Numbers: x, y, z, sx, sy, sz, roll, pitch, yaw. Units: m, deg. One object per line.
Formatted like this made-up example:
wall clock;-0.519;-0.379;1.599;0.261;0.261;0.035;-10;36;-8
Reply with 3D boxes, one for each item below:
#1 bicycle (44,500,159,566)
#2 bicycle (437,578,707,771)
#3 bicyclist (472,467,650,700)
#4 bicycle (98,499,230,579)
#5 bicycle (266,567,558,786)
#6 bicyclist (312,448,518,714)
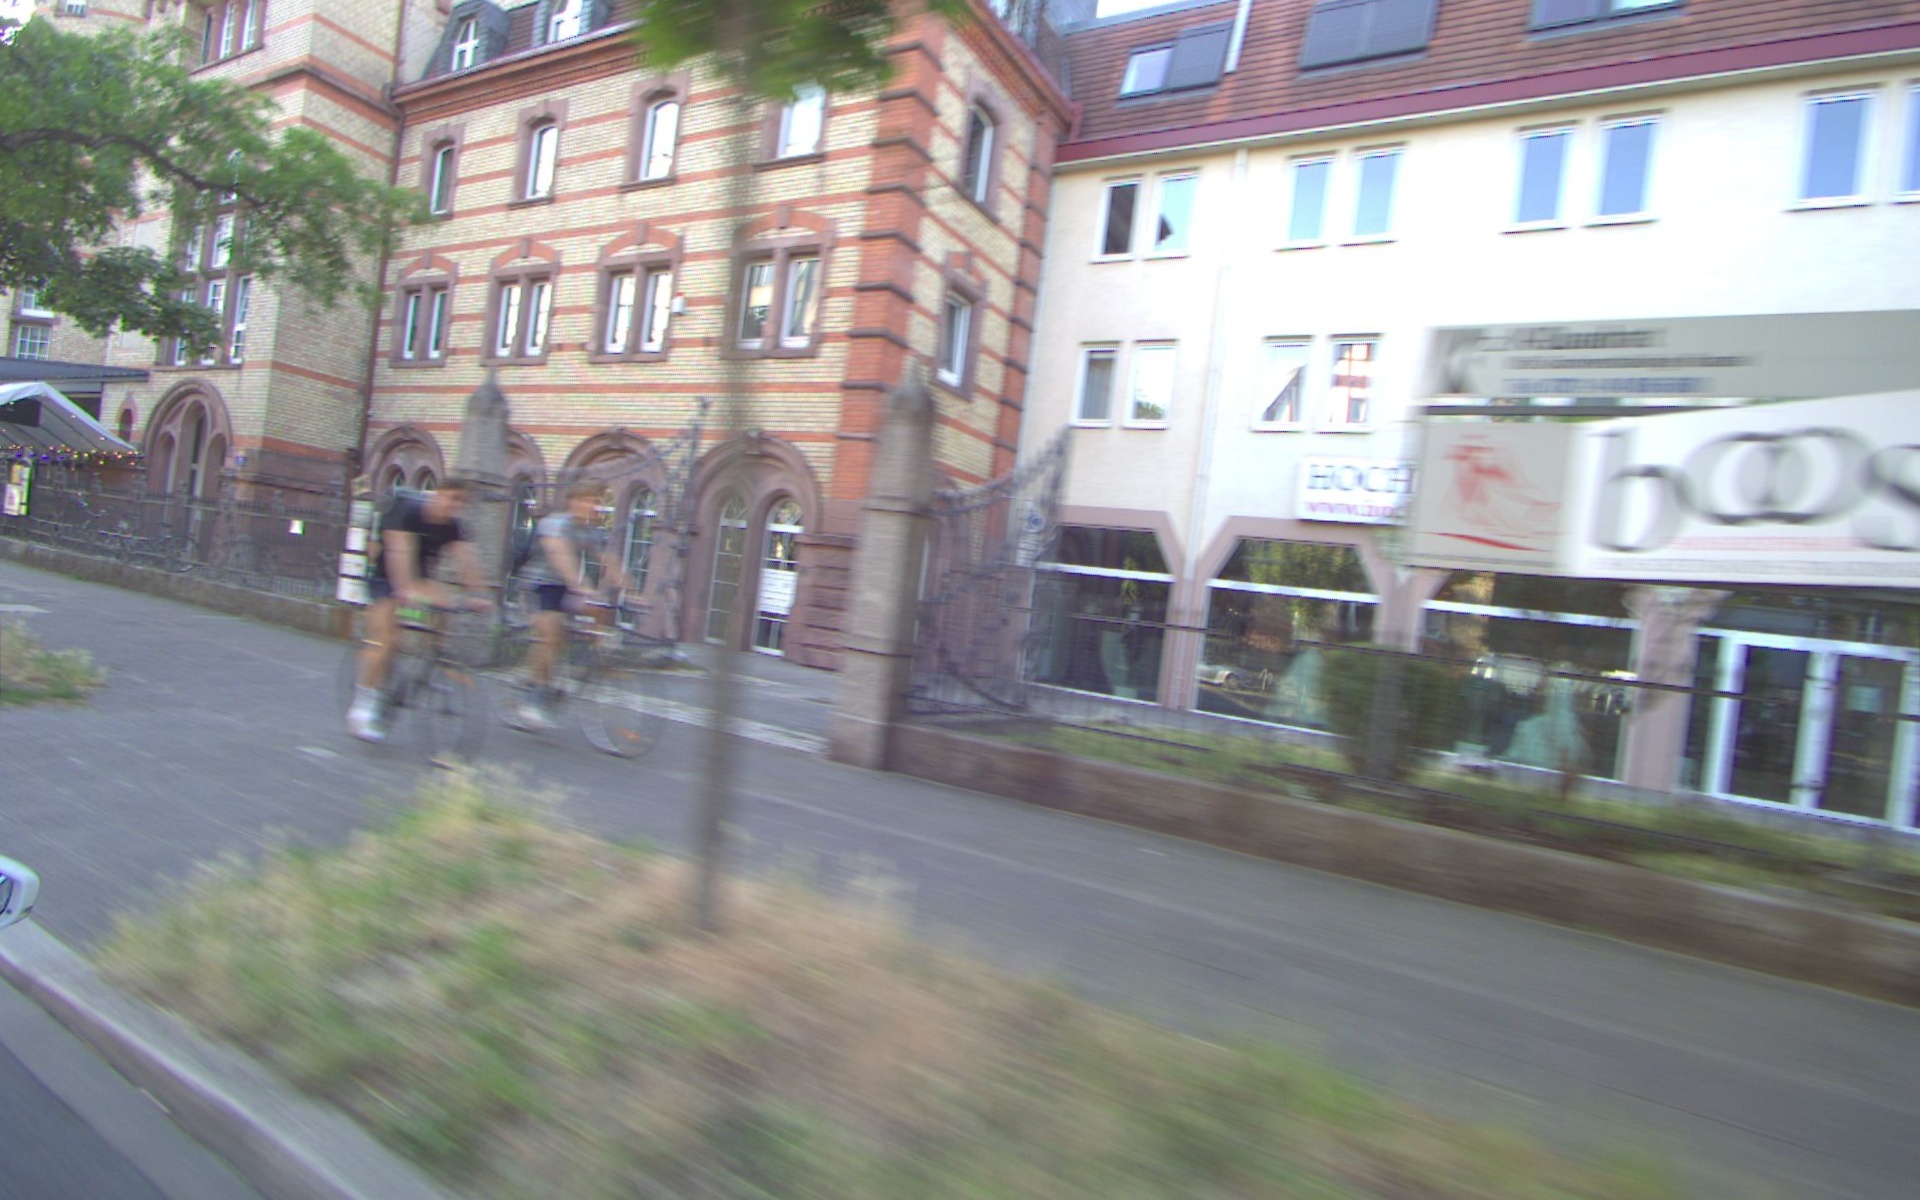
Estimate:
bicycle;-16.013;-1.235;18.802;0.526;0.956;1.448;7;-3;32
bicycle;-2.798;0.492;7.149;2.054;1.051;0.518;7;-2;31
bicyclist;-2.896;-0.120;7.315;0.878;1.549;0.597;7;-2;31
bicycle;-14.644;-1.102;18.565;0.485;1.150;1.737;7;-3;32
bicycle;-3.508;0.439;6.367;2.054;1.051;0.545;7;-2;31
bicyclist;-3.458;-0.121;6.396;0.878;1.549;0.597;7;-2;31
